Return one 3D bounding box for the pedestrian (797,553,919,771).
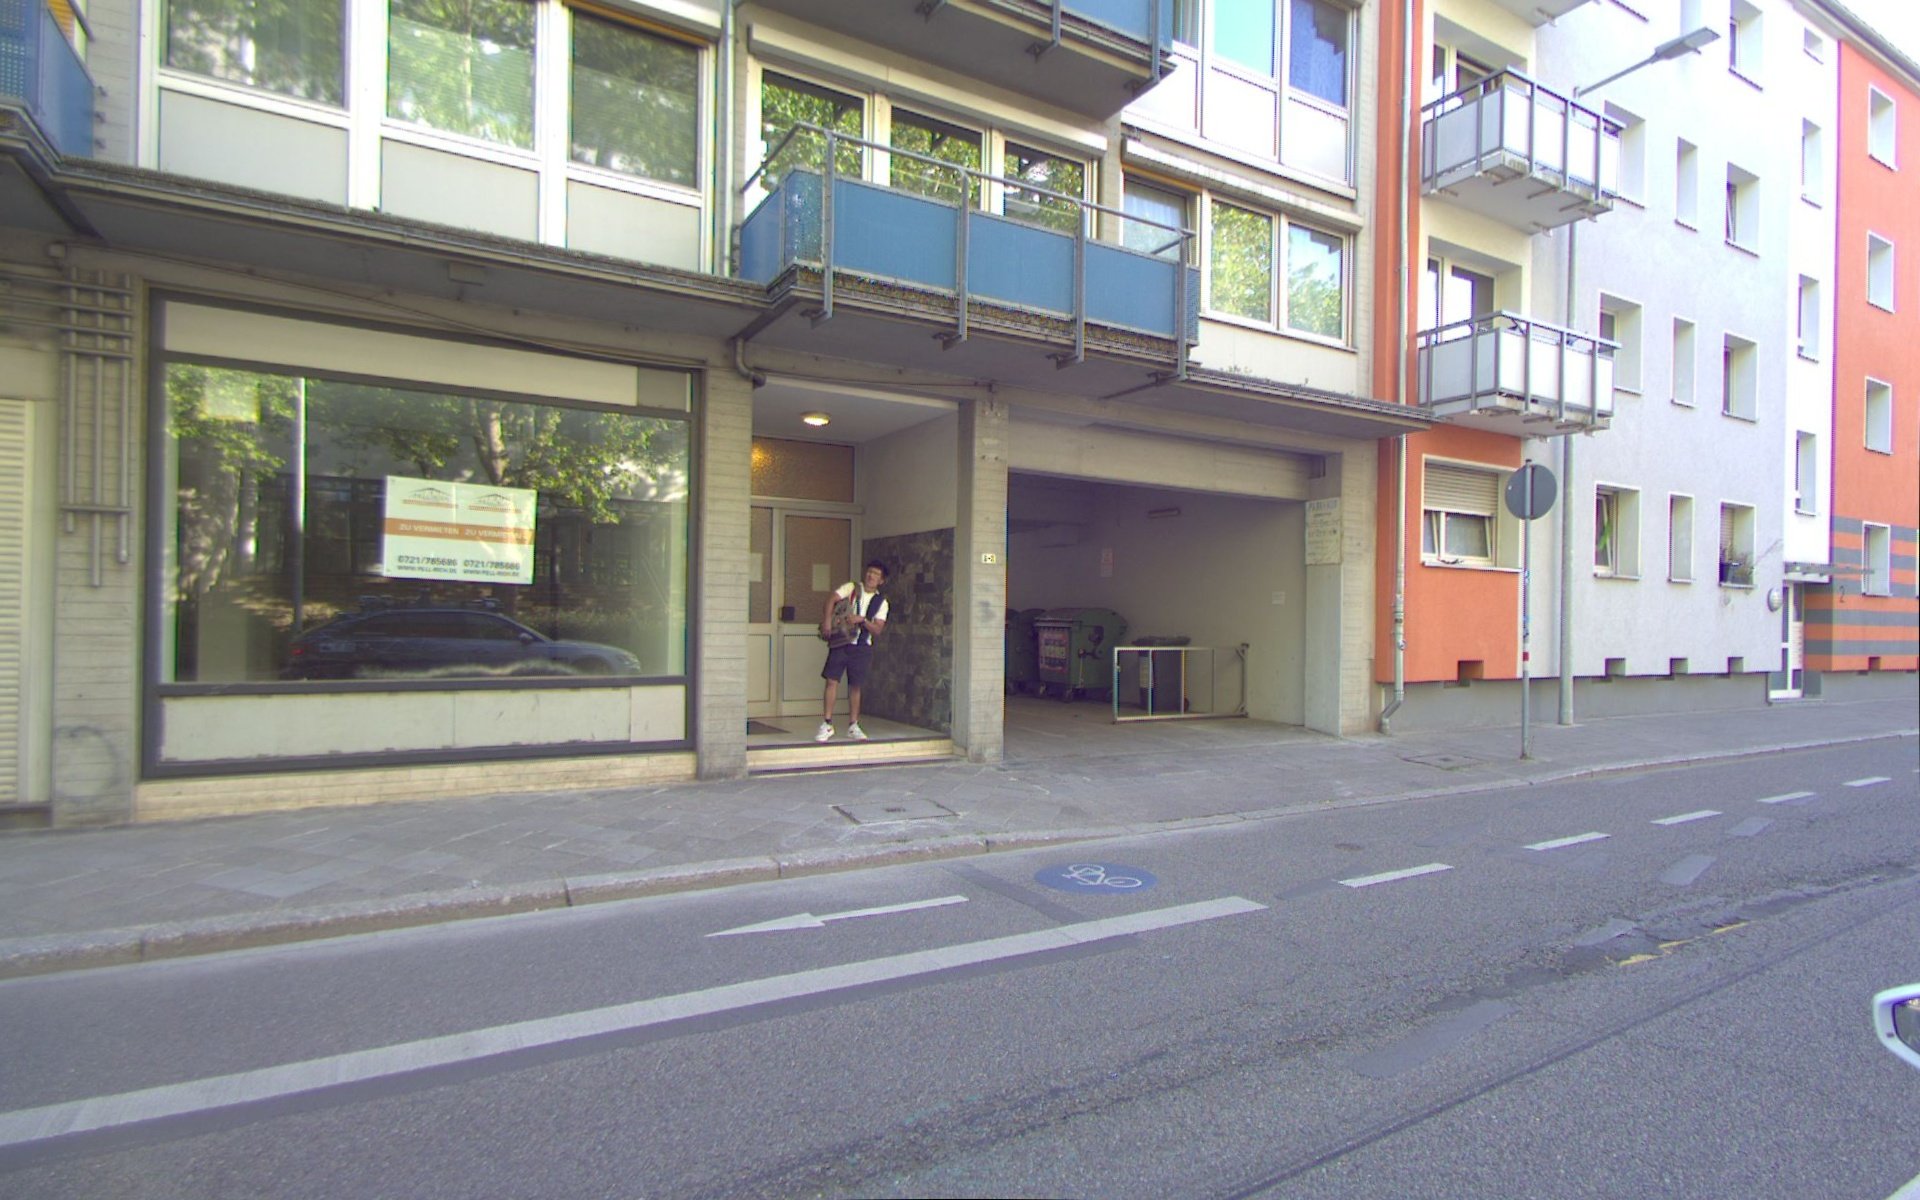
[{"bbox_3d":[-0.945,0.550,9.262,0.882,1.902,0.703,2,0,-28],"label":"pedestrian"}]

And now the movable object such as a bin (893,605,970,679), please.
[{"bbox_3d":[-0.568,0.810,19.872,1.066,1.384,1.255,2,0,-27],"label":"movable object such as a bin"}]

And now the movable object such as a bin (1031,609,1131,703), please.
[{"bbox_3d":[1.892,0.865,15.819,1.066,1.384,1.192,2,0,-27],"label":"movable object such as a bin"}]

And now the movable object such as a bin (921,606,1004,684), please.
[{"bbox_3d":[0.040,0.823,18.703,1.066,1.384,1.255,2,0,-27],"label":"movable object such as a bin"}]

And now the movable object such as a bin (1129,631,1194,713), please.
[{"bbox_3d":[2.893,1.024,14.469,0.650,1.115,0.626,2,0,-27],"label":"movable object such as a bin"}]

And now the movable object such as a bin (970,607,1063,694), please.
[{"bbox_3d":[0.951,0.843,17.134,1.066,1.384,1.255,2,0,-27],"label":"movable object such as a bin"}]
